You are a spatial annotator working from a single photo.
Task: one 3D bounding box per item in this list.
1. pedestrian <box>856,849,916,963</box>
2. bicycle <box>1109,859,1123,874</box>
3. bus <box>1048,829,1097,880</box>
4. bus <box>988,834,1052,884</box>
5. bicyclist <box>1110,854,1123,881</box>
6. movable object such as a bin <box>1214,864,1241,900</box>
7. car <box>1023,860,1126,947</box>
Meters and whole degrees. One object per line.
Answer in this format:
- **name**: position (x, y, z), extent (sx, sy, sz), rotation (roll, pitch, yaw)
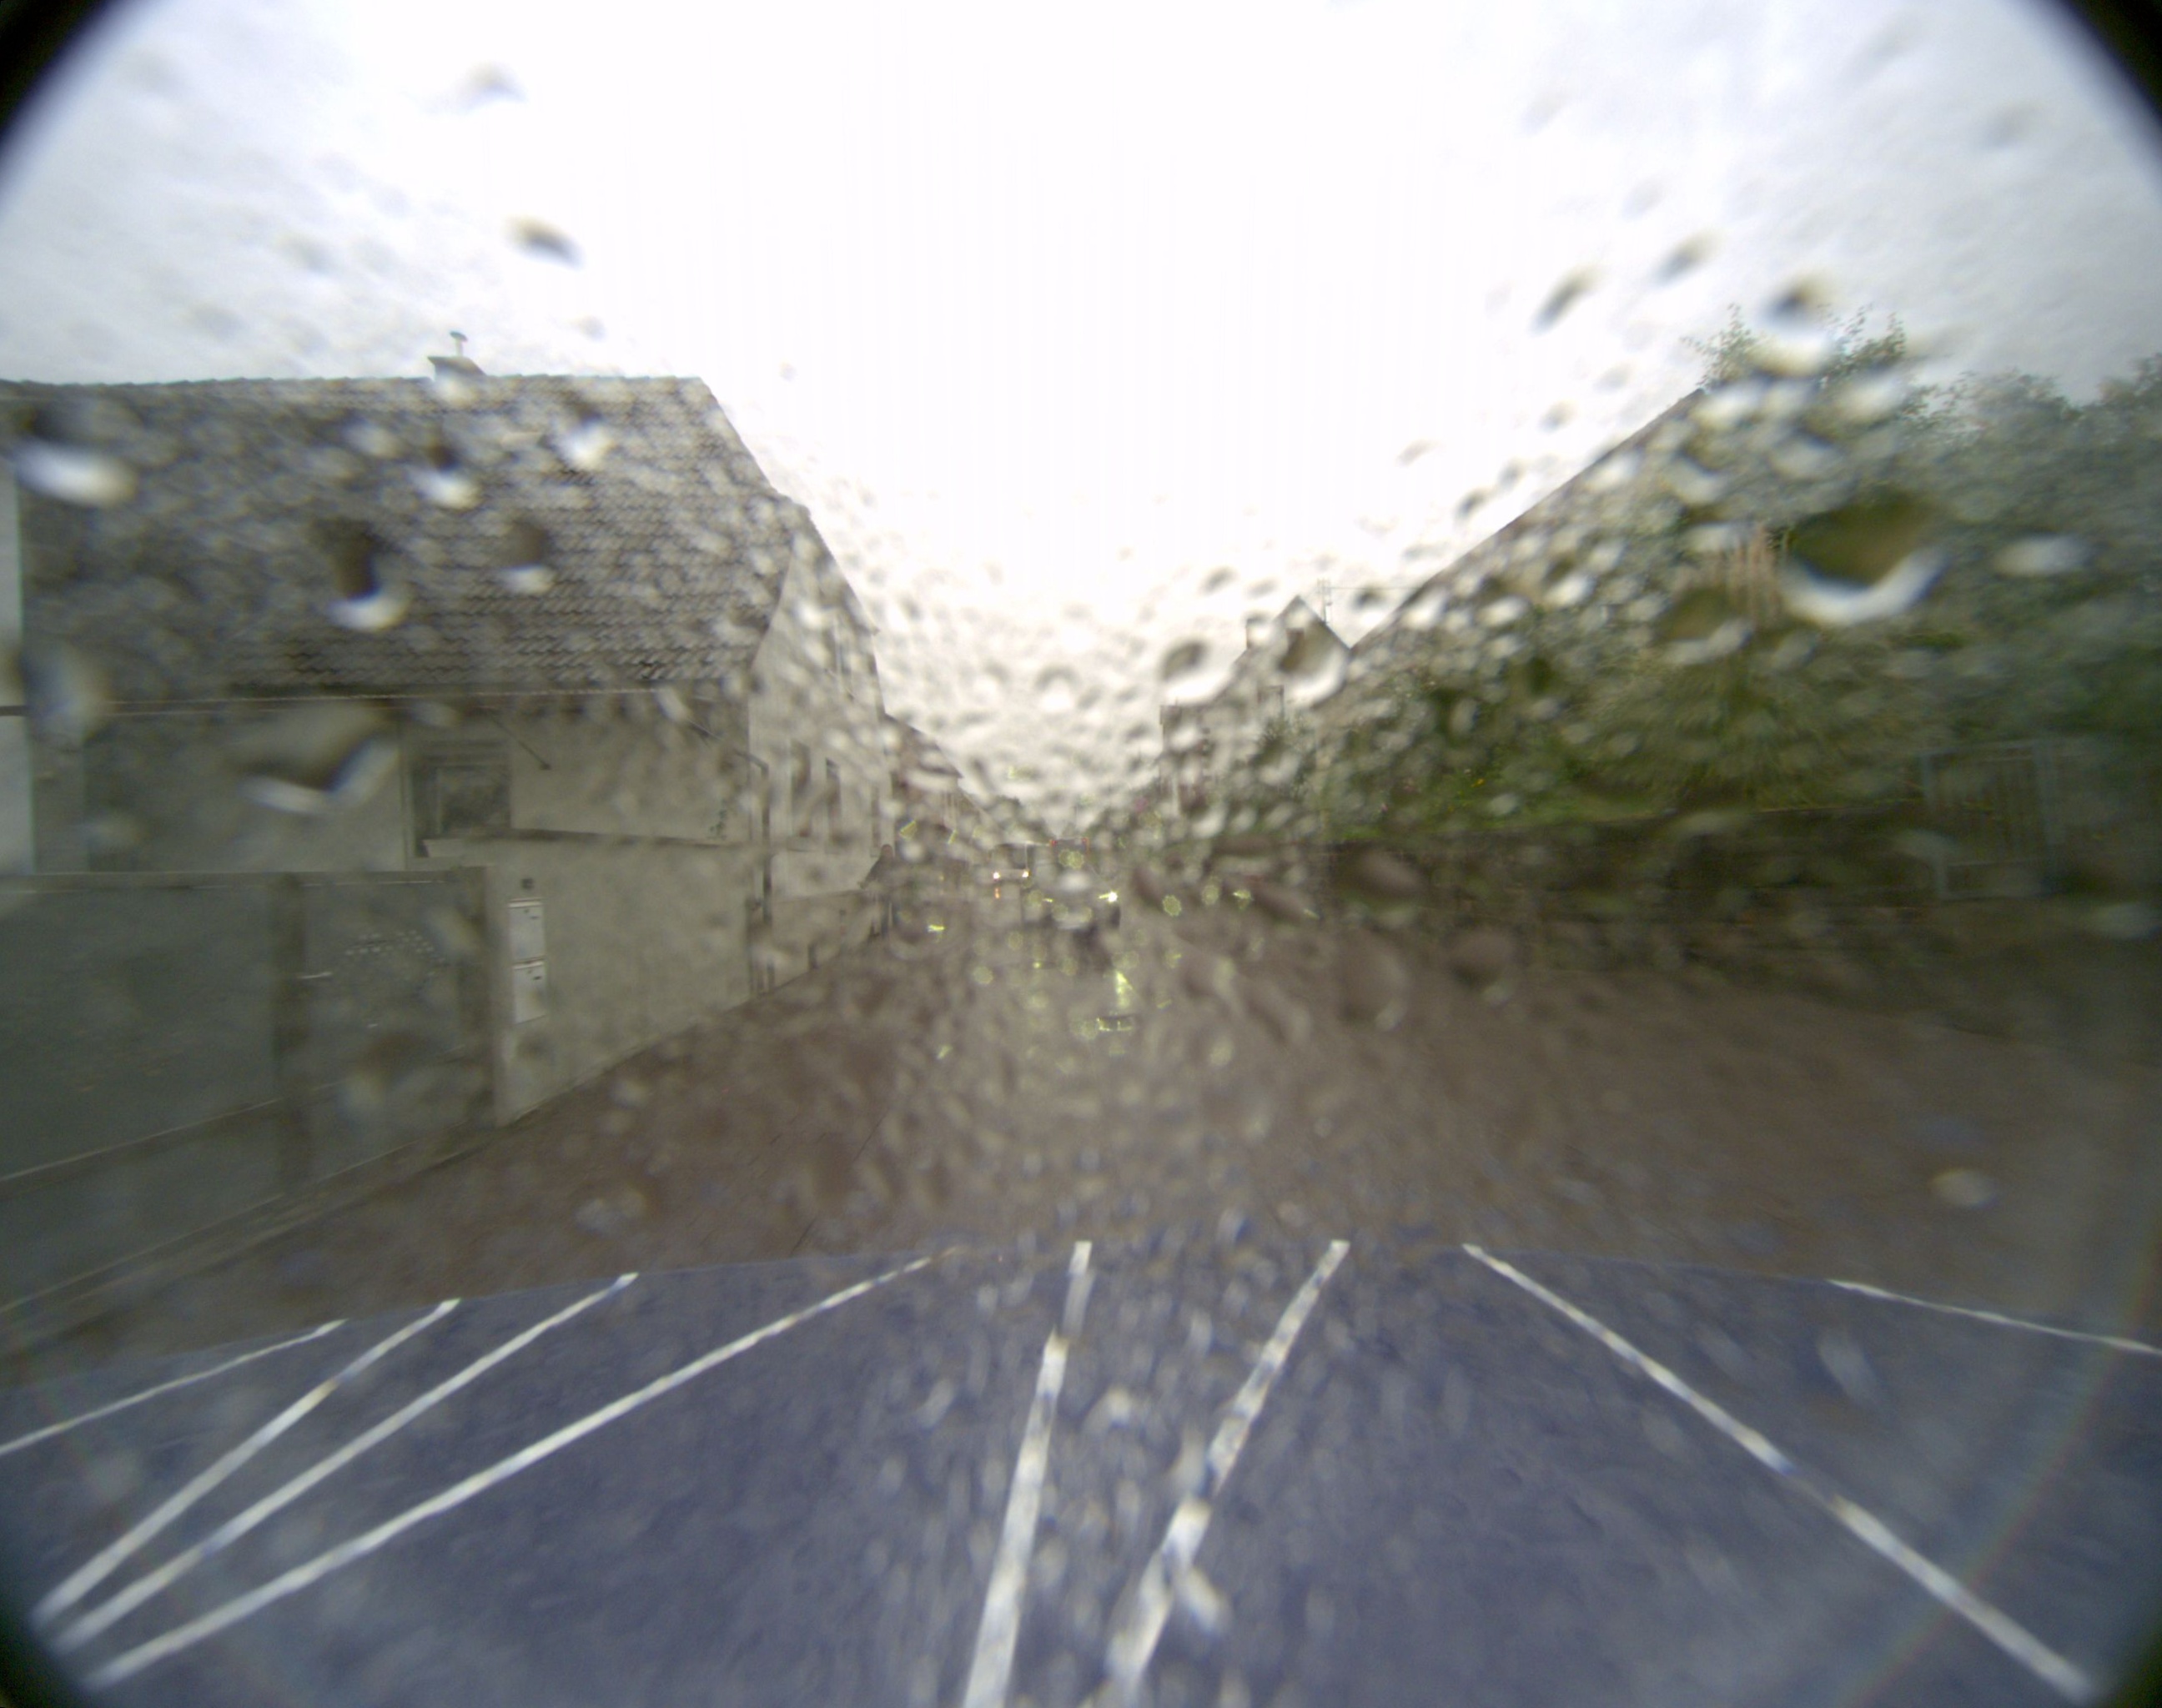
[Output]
- **pedestrian**: position (-3.091, 0.807, 12.123), extent (0.696, 1.722, 0.821), rotation (-3, 1, -4)
- **bicycle**: position (2.302, 0.837, 50.301), extent (0.663, 0.865, 1.934), rotation (-4, -2, -4)
- **bus**: position (-0.459, 0.013, 52.326), extent (2.813, 2.922, 11.941), rotation (-4, 0, 0)
- **bus**: position (-4.558, 0.320, 60.489), extent (3.440, 3.392, 13.871), rotation (-3, 0, 2)
- **bicyclist**: position (2.322, 0.901, 50.278), extent (0.658, 1.759, 0.703), rotation (-4, -1, -4)
- **movable object such as a bin**: position (4.065, 0.762, 21.057), extent (0.539, 0.925, 0.544), rotation (-4, 1, -6)
- **car**: position (-0.238, 0.918, 15.940), extent (1.780, 1.349, 4.186), rotation (-5, 1, -3)
